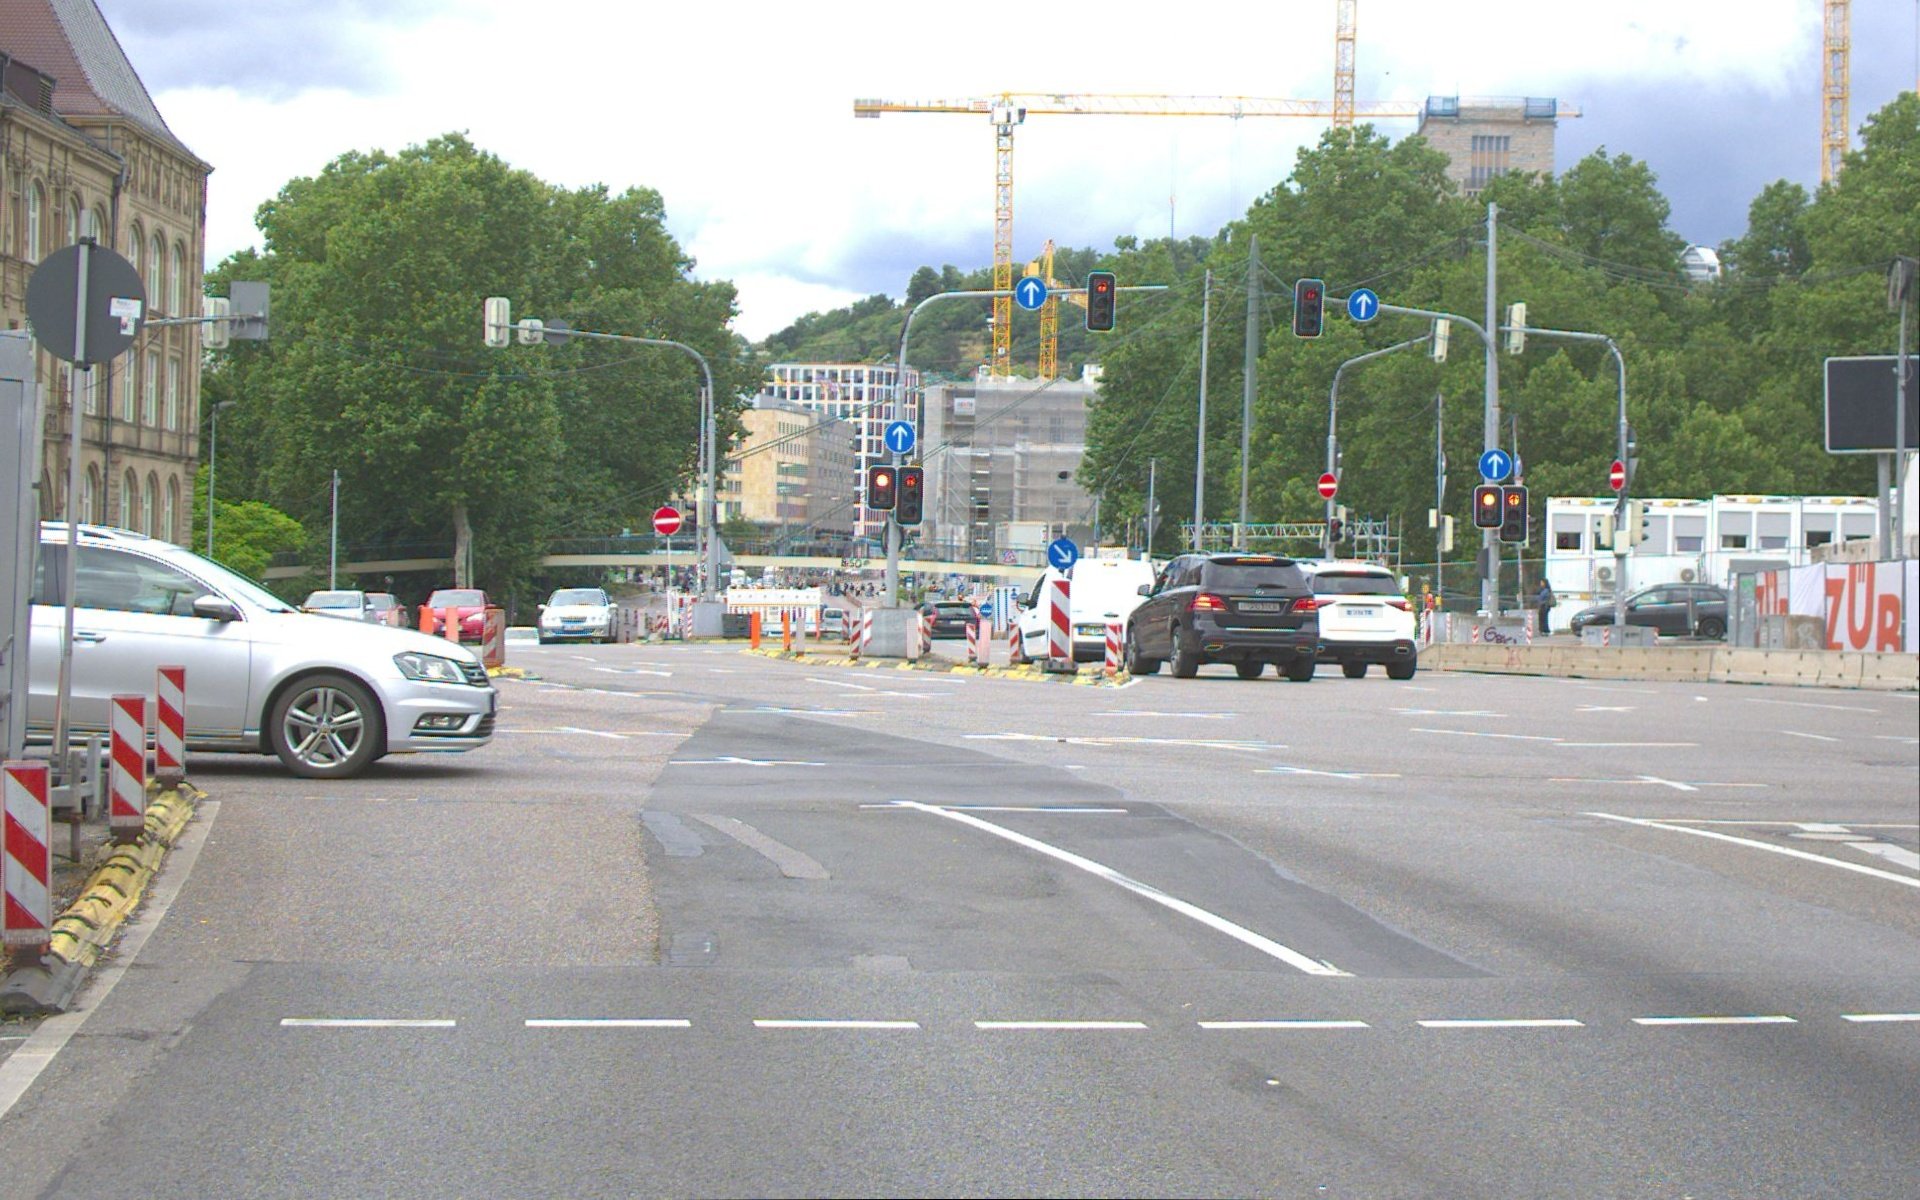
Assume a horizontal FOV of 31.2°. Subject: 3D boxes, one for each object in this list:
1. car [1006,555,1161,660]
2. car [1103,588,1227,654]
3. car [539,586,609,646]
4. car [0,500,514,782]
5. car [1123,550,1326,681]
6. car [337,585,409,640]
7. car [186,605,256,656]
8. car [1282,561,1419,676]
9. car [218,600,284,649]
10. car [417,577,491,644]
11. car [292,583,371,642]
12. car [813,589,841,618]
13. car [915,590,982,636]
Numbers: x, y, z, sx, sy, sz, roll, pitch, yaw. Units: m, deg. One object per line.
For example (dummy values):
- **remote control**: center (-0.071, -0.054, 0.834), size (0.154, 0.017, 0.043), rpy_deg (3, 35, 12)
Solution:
- **car**: center (1.956, 0.100, 55.528), size (1.816, 1.619, 4.001), rpy_deg (1, 1, -8)
- **car**: center (4.507, 0.448, 75.990), size (1.675, 1.393, 3.087), rpy_deg (1, 1, -19)
- **car**: center (-9.555, 0.377, 85.026), size (1.675, 1.393, 3.684), rpy_deg (1, 1, -7)
- **car**: center (-5.158, 0.223, 20.983), size (4.709, 1.619, 1.682), rpy_deg (1, 0, -3)
- **car**: center (3.666, 0.184, 48.482), size (1.831, 1.740, 4.257), rpy_deg (1, 1, -10)
- **car**: center (-15.662, 0.326, 91.790), size (1.675, 1.393, 3.684), rpy_deg (1, 1, -7)
- **car**: center (-21.784, 0.887, 101.424), size (1.675, 1.393, 3.684), rpy_deg (1, 1, -7)
- **car**: center (5.991, 0.266, 53.049), size (1.676, 1.696, 3.374), rpy_deg (1, 1, -1)
- **car**: center (-22.325, 0.783, 108.289), size (1.675, 1.393, 3.683), rpy_deg (0, -3, -6)
- **car**: center (-12.447, 0.250, 84.720), size (1.675, 1.575, 3.684), rpy_deg (1, 1, -7)
- **car**: center (-15.641, 0.288, 85.629), size (1.675, 1.393, 3.684), rpy_deg (1, 1, -7)
- **car**: center (-9.817, 0.270, 253.732), size (1.993, 2.007, 4.001), rpy_deg (1, 1, -3)
- **car**: center (-0.381, 0.409, 109.765), size (1.675, 1.393, 3.684), rpy_deg (1, 1, -7)
